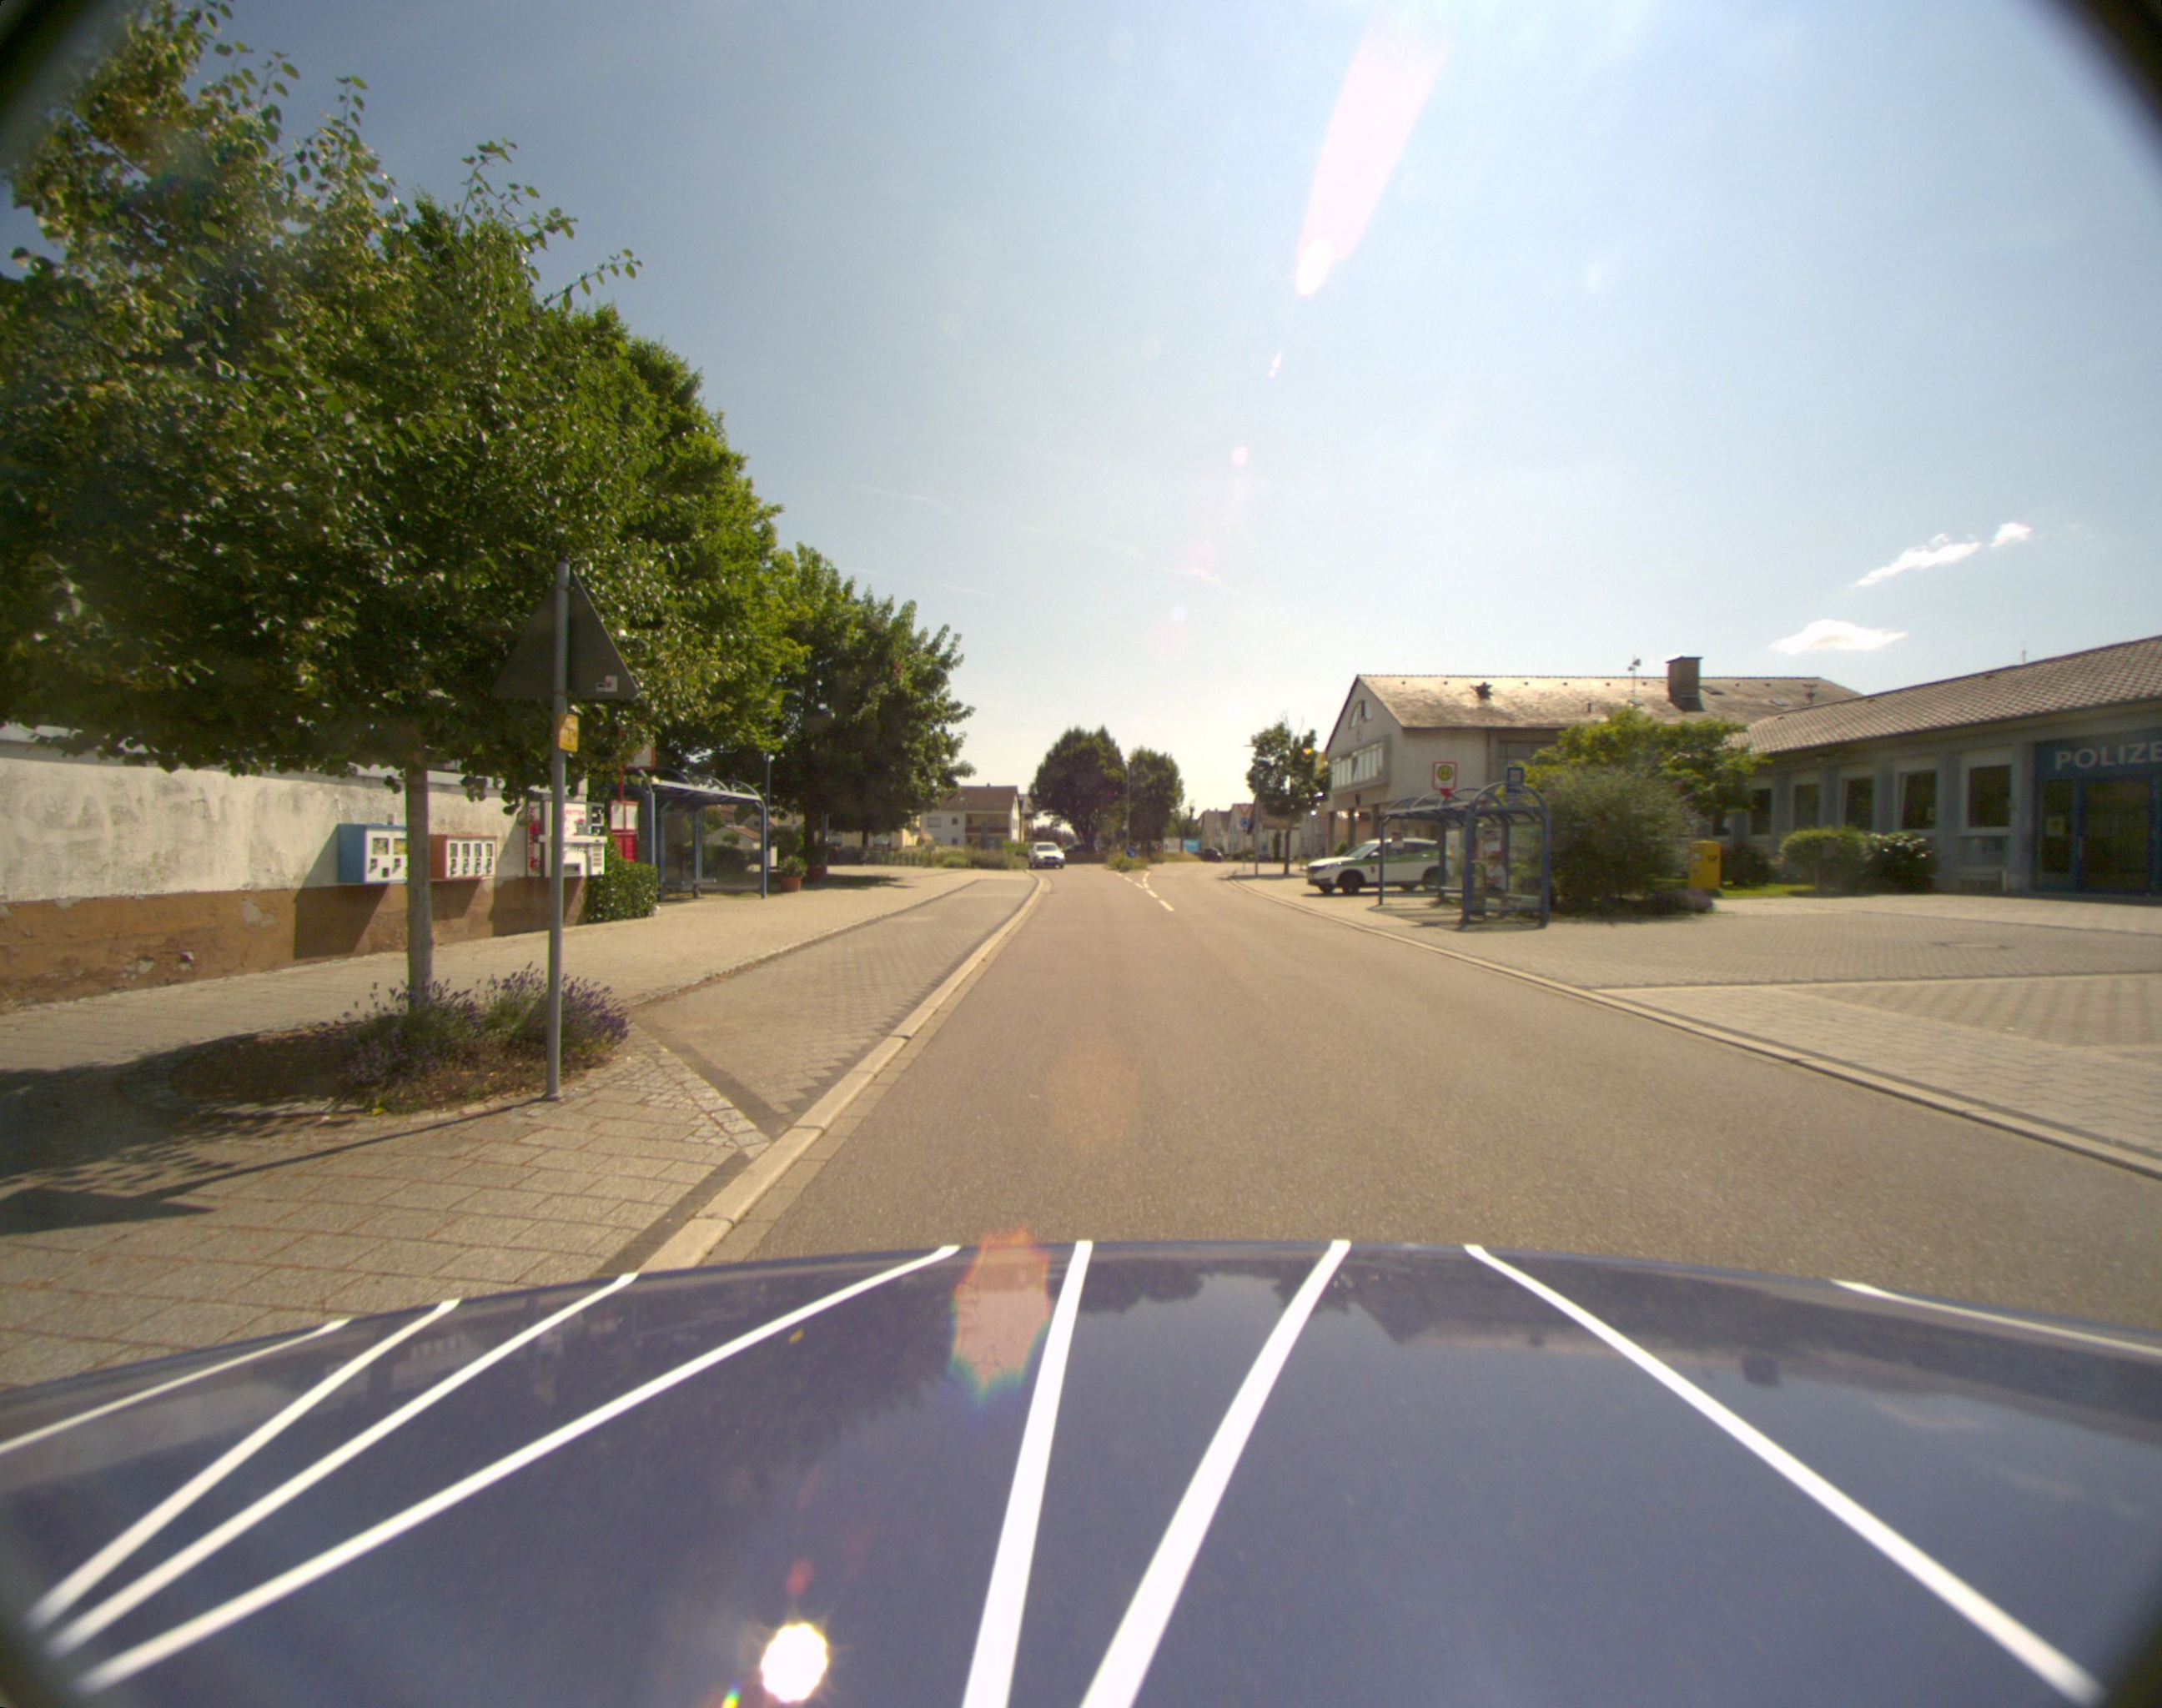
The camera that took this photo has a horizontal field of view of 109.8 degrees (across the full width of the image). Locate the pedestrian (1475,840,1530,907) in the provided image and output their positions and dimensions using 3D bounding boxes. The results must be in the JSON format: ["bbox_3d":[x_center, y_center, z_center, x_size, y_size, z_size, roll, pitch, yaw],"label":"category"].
[{"bbox_3d":[8.613,0.384,15.536,0.787,1.351,0.607,-1,2,1],"label":"pedestrian"}]

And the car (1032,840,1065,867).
[{"bbox_3d":[-2.130,-0.064,48.322,1.858,1.604,4.132,-2,1,-5],"label":"car"}]

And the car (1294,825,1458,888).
[{"bbox_3d":[8.997,0.057,23.390,4.251,1.709,1.944,-2,2,-5],"label":"car"}]

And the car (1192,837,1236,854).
[{"bbox_3d":[12.663,-0.848,72.350,3.992,1.484,2.001,-1,2,14],"label":"car"}]

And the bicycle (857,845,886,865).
[{"bbox_3d":[-12.348,0.027,44.912,0.838,1.105,2.631,0,1,4],"label":"bicycle"}]
